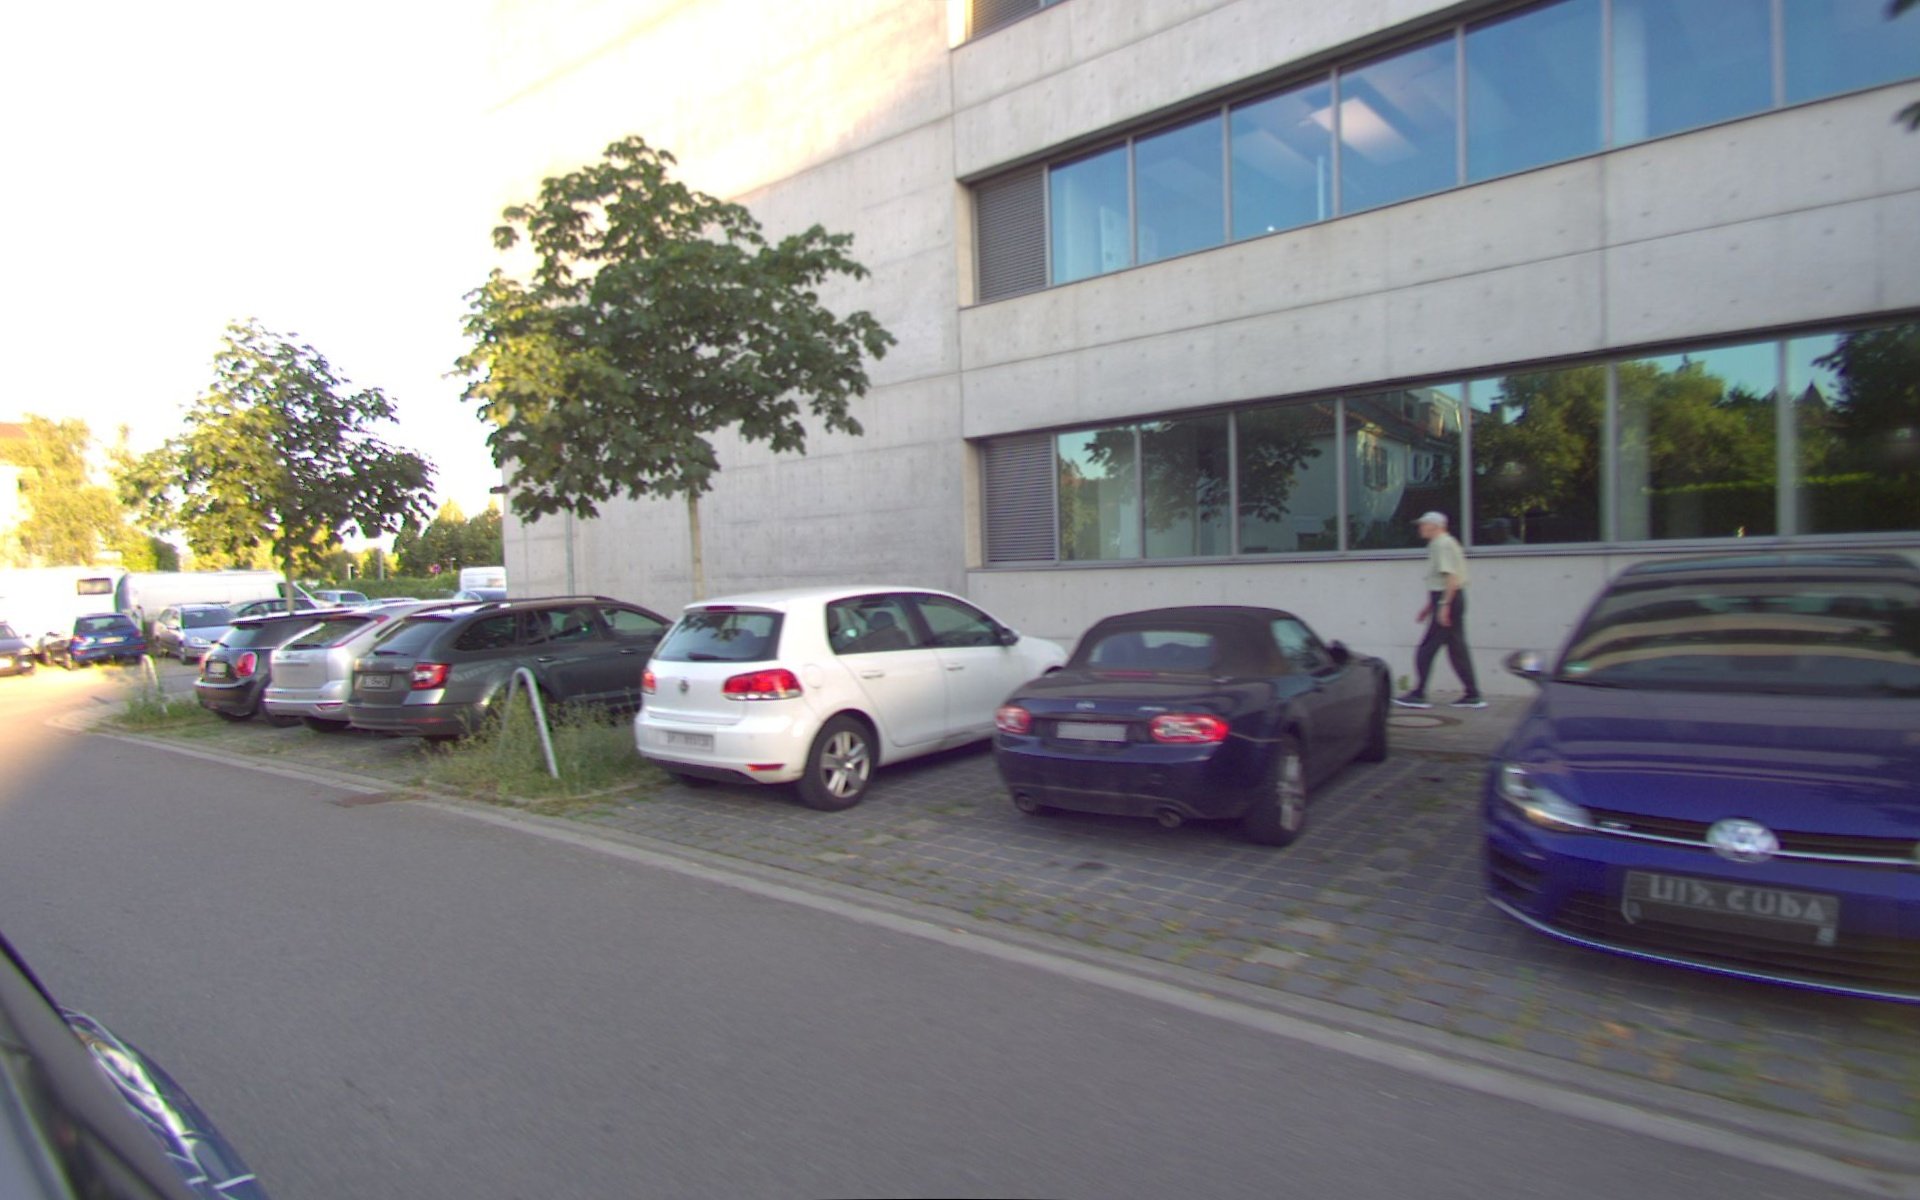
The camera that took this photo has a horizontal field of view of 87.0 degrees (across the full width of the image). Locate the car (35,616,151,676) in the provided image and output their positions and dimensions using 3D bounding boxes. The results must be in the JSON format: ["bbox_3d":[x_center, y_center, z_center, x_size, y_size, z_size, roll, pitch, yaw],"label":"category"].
[{"bbox_3d":[-23.566,1.211,27.467,3.716,1.433,1.647,-1,2,38],"label":"car"}]

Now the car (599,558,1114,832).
[{"bbox_3d":[-0.584,0.524,8.099,1.758,1.522,3.948,-2,2,40],"label":"car"}]

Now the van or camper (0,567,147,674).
[{"bbox_3d":[-27.957,0.636,29.036,2.400,2.919,6.691,-1,2,32],"label":"van or camper"}]

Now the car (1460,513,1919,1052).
[{"bbox_3d":[3.690,0.408,4.491,1.758,1.522,3.832,-2,2,40],"label":"car"}]

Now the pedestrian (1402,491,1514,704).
[{"bbox_3d":[4.444,-0.033,9.022,0.724,1.797,0.639,-1,3,40],"label":"pedestrian"}]

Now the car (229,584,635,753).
[{"bbox_3d":[-6.338,0.699,12.607,1.841,1.540,4.054,-2,3,33],"label":"car"}]

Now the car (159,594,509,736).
[{"bbox_3d":[-8.550,0.796,14.122,1.765,1.493,3.705,-2,2,34],"label":"car"}]

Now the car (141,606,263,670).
[{"bbox_3d":[-21.447,1.013,28.586,4.198,1.490,1.647,1,5,38],"label":"car"}]

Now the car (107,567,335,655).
[{"bbox_3d":[-26.623,0.306,36.783,2.217,2.692,6.193,-1,3,33],"label":"car"}]

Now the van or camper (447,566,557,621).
[{"bbox_3d":[-24.786,-0.310,54.670,6.619,2.710,1.999,-1,3,33],"label":"van or camper"}]

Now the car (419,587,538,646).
[{"bbox_3d":[-15.996,0.492,33.554,4.398,1.633,1.648,3,5,37],"label":"car"}]

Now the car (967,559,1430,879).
[{"bbox_3d":[1.777,0.504,6.556,1.682,1.372,3.602,-2,2,35],"label":"car"}]

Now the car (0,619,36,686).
[{"bbox_3d":[-25.059,1.333,25.704,4.357,1.530,1.670,0,3,40],"label":"car"}]

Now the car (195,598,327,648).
[{"bbox_3d":[-24.309,0.764,35.272,1.510,1.458,3.411,-1,3,33],"label":"car"}]

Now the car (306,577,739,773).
[{"bbox_3d":[-4.410,0.647,10.820,1.580,1.523,3.967,-3,2,33],"label":"car"}]

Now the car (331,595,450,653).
[{"bbox_3d":[-18.299,0.728,32.465,4.398,1.490,1.648,3,5,37],"label":"car"}]
